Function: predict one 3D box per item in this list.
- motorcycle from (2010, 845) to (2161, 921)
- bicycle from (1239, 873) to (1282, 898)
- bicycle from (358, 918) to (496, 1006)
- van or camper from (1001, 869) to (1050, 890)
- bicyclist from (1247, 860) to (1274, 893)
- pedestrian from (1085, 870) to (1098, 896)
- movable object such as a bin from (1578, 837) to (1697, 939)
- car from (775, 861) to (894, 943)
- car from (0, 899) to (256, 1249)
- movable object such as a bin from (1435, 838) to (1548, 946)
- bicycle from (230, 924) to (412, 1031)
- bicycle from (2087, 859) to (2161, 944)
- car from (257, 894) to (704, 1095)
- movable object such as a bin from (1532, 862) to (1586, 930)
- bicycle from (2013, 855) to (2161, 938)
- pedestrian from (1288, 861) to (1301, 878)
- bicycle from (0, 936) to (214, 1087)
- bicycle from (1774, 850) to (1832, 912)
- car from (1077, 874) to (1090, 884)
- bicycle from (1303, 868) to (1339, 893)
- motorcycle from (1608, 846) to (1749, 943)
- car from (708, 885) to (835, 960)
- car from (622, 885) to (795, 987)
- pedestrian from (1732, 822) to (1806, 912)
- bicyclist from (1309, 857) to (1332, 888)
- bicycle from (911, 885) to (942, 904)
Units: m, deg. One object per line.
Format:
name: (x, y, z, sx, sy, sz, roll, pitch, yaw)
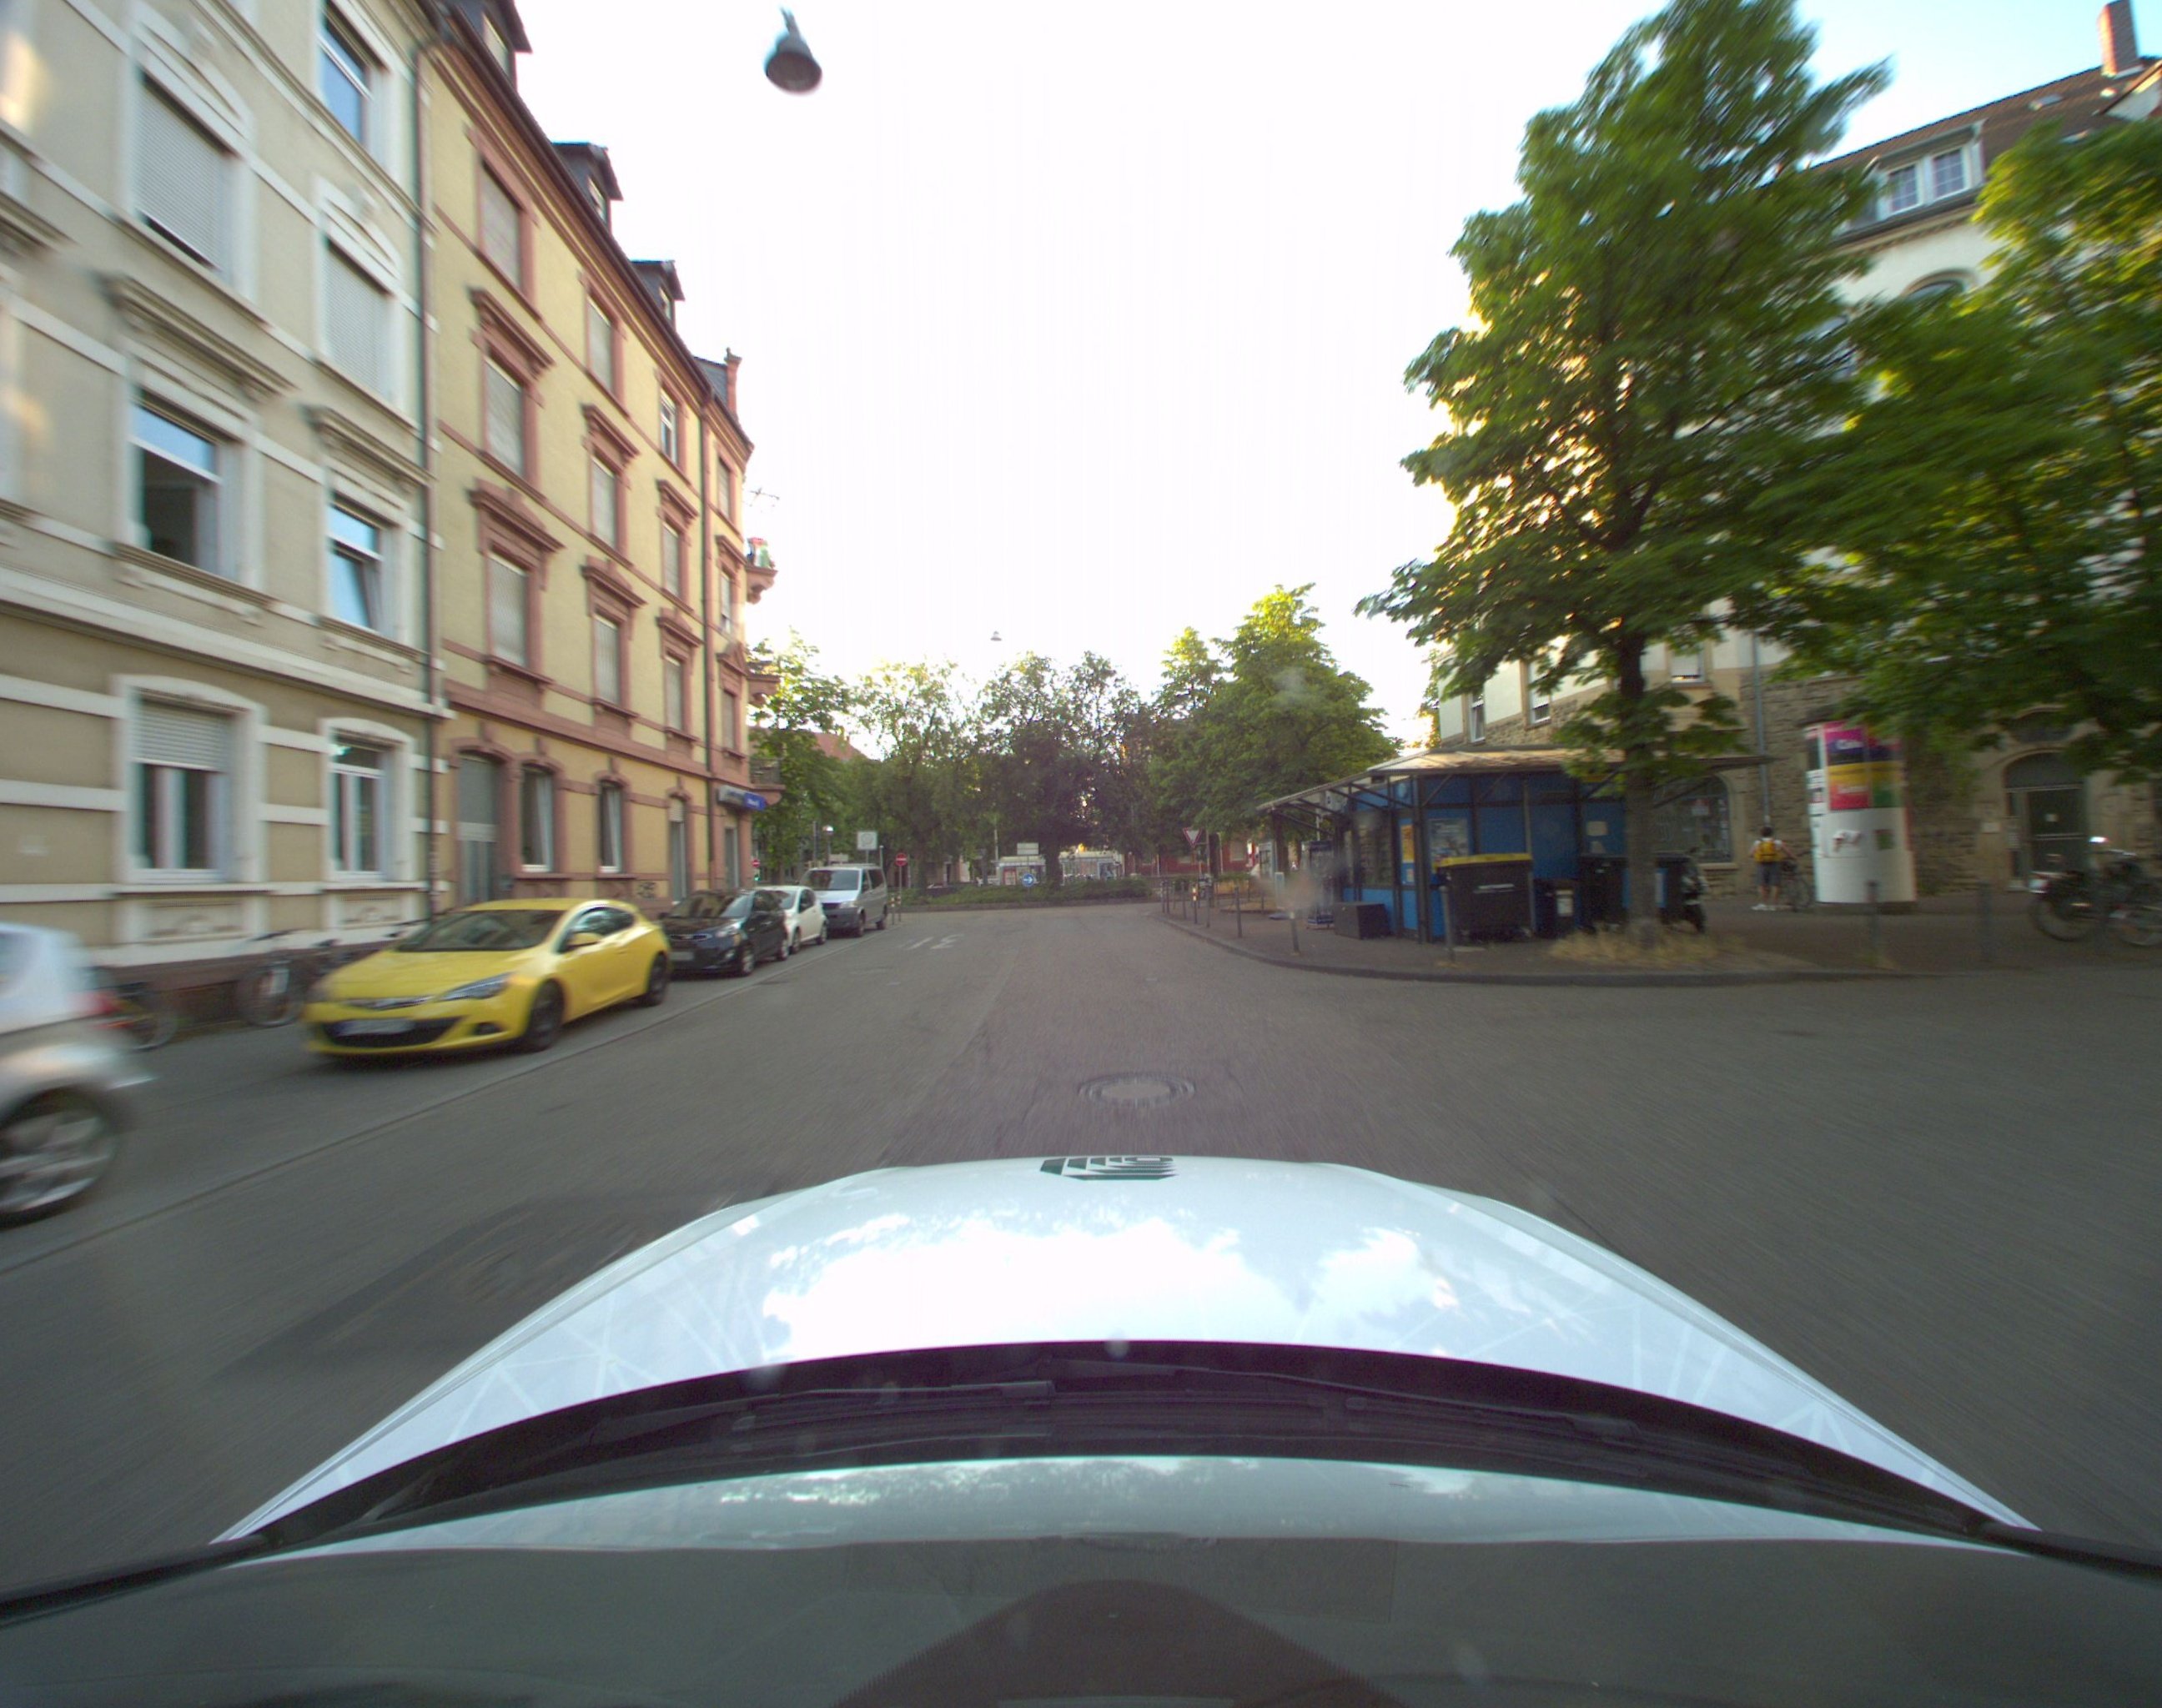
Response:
motorcycle: (15.513, 0.441, 12.508, 1.822, 1.054, 0.578, -3, -2, -2)
bicycle: (8.372, 1.470, 37.924, 1.837, 1.070, 0.703, -2, -1, -24)
bicycle: (-9.628, 1.548, 12.087, 0.660, 1.070, 1.831, -3, -1, -5)
van or camper: (-8.568, 3.918, 125.539, 7.359, 3.083, 2.666, -1, -2, -7)
bicyclist: (8.362, 1.042, 37.939, 0.920, 1.503, 0.703, -2, -2, -24)
pedestrian: (0.599, 1.655, 45.952, 0.614, 1.431, 0.655, -3, -1, -2)
movable object such as a bin: (8.500, 0.504, 12.488, 1.275, 1.475, 0.821, 1, -1, 6)
car: (-6.908, 1.285, 23.407, 2.035, 2.057, 5.000, -1, -1, -2)
car: (-5.937, 1.037, 2.893, 1.795, 1.593, 4.142, -1, -1, -1)
movable object such as a bin: (6.222, 0.570, 12.393, 1.216, 1.475, 0.767, -6, -1, 6)
bicycle: (-9.494, 1.500, 10.281, 0.660, 1.070, 1.831, -3, -1, -5)
bicycle: (13.786, 0.554, 10.166, 1.729, 0.996, 0.578, -3, -2, -2)
car: (-6.193, 1.299, 9.327, 1.836, 1.526, 4.793, 0, -1, -5)
movable object such as a bin: (7.369, 0.635, 12.567, 0.478, 1.001, 0.487, -3, -1, -2)
bicycle: (13.699, 0.554, 10.924, 1.729, 0.996, 0.578, -3, -2, -2)
pedestrian: (19.404, 1.394, 74.013, 0.856, 1.526, 0.720, -4, -2, 35)
bicycle: (-9.489, 1.442, 7.756, 0.478, 1.140, 1.862, -3, -1, -1)
bicycle: (14.961, 0.532, 16.918, 0.627, 1.188, 1.926, -5, -2, 35)
car: (0.447, 4.597, 151.256, 1.989, 1.704, 4.713, -1, -2, -4)
bicycle: (11.092, 1.222, 37.647, 1.845, 1.070, 0.700, -2, -2, -43)
motorcycle: (9.850, 0.640, 13.540, 0.865, 1.453, 1.881, -3, -1, -2)
car: (-6.967, 1.486, 18.707, 1.680, 1.491, 3.609, -1, -1, -3)
car: (-6.473, 1.345, 14.612, 1.727, 1.491, 3.733, -1, -1, -6)
pedestrian: (14.466, 0.276, 17.162, 0.967, 1.789, 1.012, -5, -2, 34)
bicyclist: (11.084, 0.863, 37.667, 0.743, 1.359, 0.700, -2, -2, -43)
bicycle: (-9.861, 2.581, 52.070, 1.858, 1.051, 0.542, -2, -2, -25)
